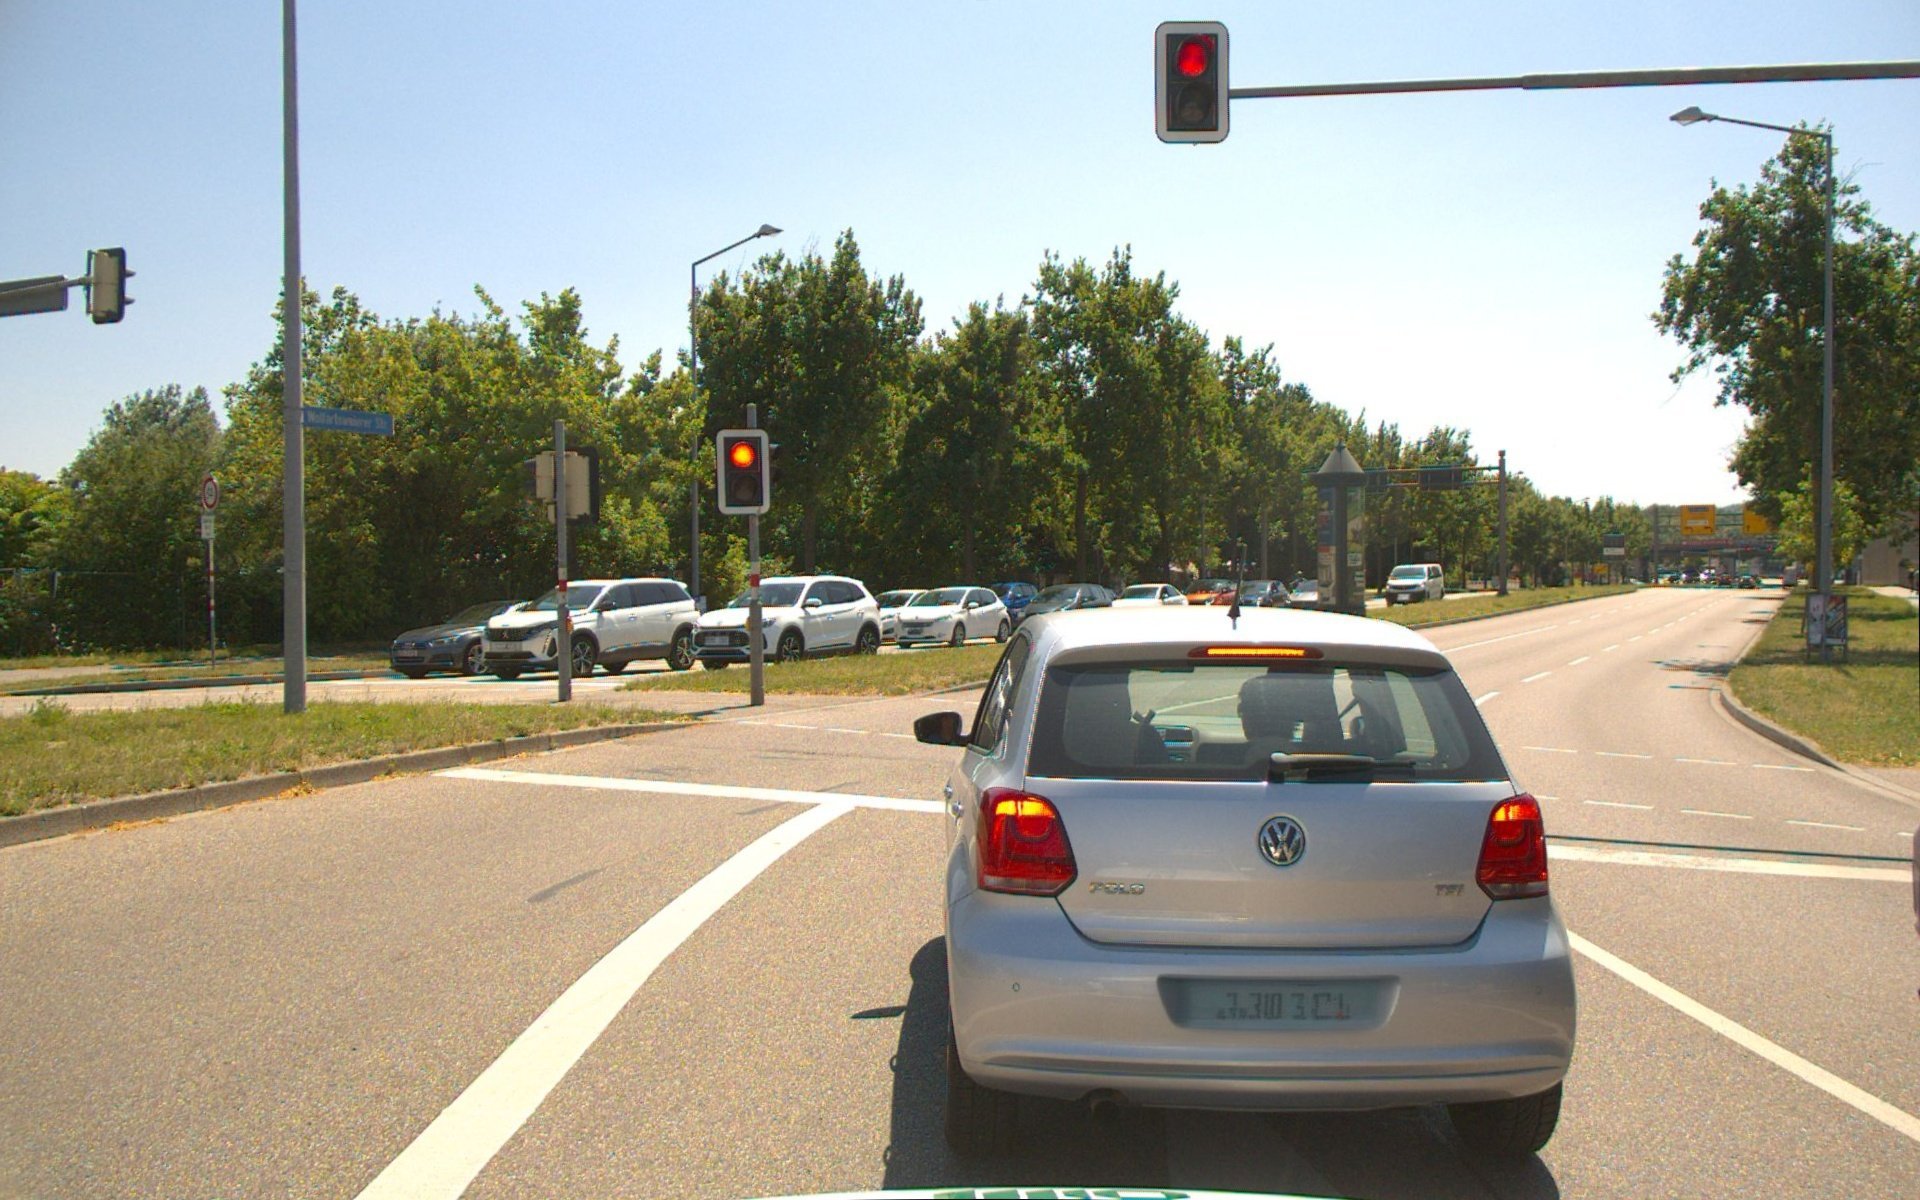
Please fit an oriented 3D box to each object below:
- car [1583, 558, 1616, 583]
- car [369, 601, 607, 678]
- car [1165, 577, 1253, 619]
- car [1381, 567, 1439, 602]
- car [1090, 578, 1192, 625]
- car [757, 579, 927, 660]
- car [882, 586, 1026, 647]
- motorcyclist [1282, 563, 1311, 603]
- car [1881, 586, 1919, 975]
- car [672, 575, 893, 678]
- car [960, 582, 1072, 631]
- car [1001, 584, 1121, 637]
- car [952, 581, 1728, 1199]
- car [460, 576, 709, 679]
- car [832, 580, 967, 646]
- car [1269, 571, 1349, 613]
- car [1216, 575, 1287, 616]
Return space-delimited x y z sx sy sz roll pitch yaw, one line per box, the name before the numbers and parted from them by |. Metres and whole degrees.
car | 46.007 -2.112 118.939 1.766 1.722 4.136 -2 -1 28
car | -8.858 0.699 31.426 1.823 1.292 4.402 0 1 28
car | 9.078 -0.104 60.113 1.823 1.447 4.402 0 1 28
car | 20.690 -0.721 75.995 1.826 1.582 3.996 0 1 26
car | 5.939 0.021 53.836 1.823 1.447 4.402 0 1 28
car | -2.598 0.389 37.596 1.823 1.712 4.402 0 1 28
car | -0.085 0.374 41.992 1.823 1.447 4.402 0 1 28
motorcyclist | 14.147 -0.714 69.542 0.889 1.614 1.008 -2 -1 30
car | 4.480 0.701 4.168 1.952 1.443 4.457 0 1 2
car | -3.097 0.406 29.849 1.823 1.712 4.402 0 1 28
car | 1.813 0.182 52.061 1.823 1.447 4.402 0 1 28
car | 2.980 0.261 47.813 1.823 1.447 4.402 0 1 28
car | 0.847 0.674 5.701 1.740 1.447 4.000 0 1 0
car | -6.454 0.410 28.921 1.823 1.646 4.402 0 1 28
car | -1.615 0.320 46.078 1.823 1.712 4.402 0 1 28
car | 13.016 -0.303 61.520 1.932 1.514 3.995 0 1 27
car | 11.386 -0.163 64.363 1.682 1.500 3.793 -2 -1 27
